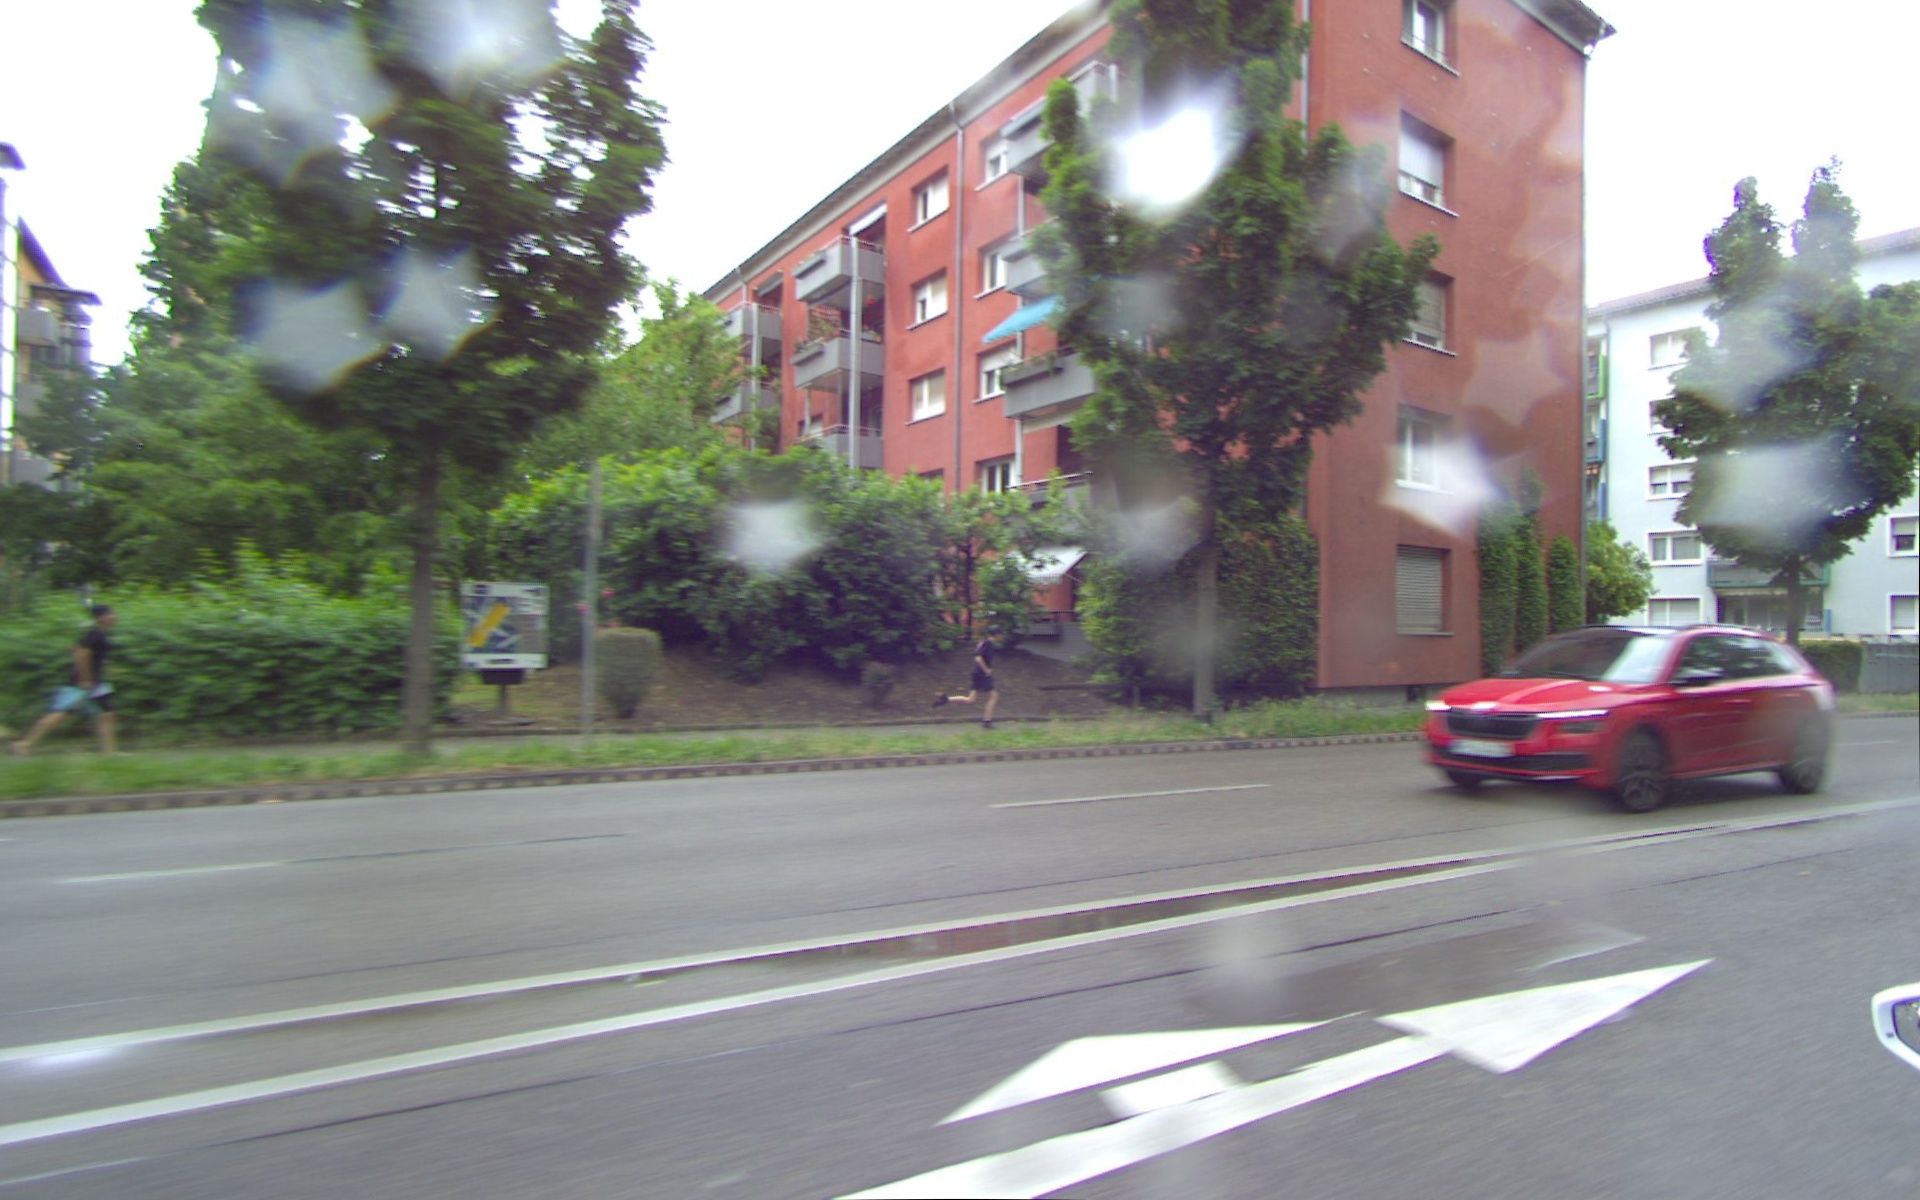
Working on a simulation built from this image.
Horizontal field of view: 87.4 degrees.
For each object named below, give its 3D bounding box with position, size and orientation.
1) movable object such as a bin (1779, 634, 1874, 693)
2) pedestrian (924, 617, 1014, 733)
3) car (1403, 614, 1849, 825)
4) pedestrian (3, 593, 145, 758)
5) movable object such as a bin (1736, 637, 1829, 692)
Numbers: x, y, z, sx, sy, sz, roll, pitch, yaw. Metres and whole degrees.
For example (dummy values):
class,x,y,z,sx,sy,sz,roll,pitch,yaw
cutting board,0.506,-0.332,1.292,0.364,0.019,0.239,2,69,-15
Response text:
class,x,y,z,sx,sy,sz,roll,pitch,yaw
movable object such as a bin,23.094,1.677,26.775,2.059,1.504,1.211,1,-2,-25
pedestrian,0.124,1.014,13.927,1.056,1.537,0.689,1,-2,-29
car,6.222,0.967,9.320,4.088,1.583,1.670,1,-1,-27
pedestrian,-8.289,0.689,9.441,0.825,1.468,0.668,1,-2,-28
movable object such as a bin,21.155,1.651,25.847,1.940,1.349,1.154,1,-2,-25
